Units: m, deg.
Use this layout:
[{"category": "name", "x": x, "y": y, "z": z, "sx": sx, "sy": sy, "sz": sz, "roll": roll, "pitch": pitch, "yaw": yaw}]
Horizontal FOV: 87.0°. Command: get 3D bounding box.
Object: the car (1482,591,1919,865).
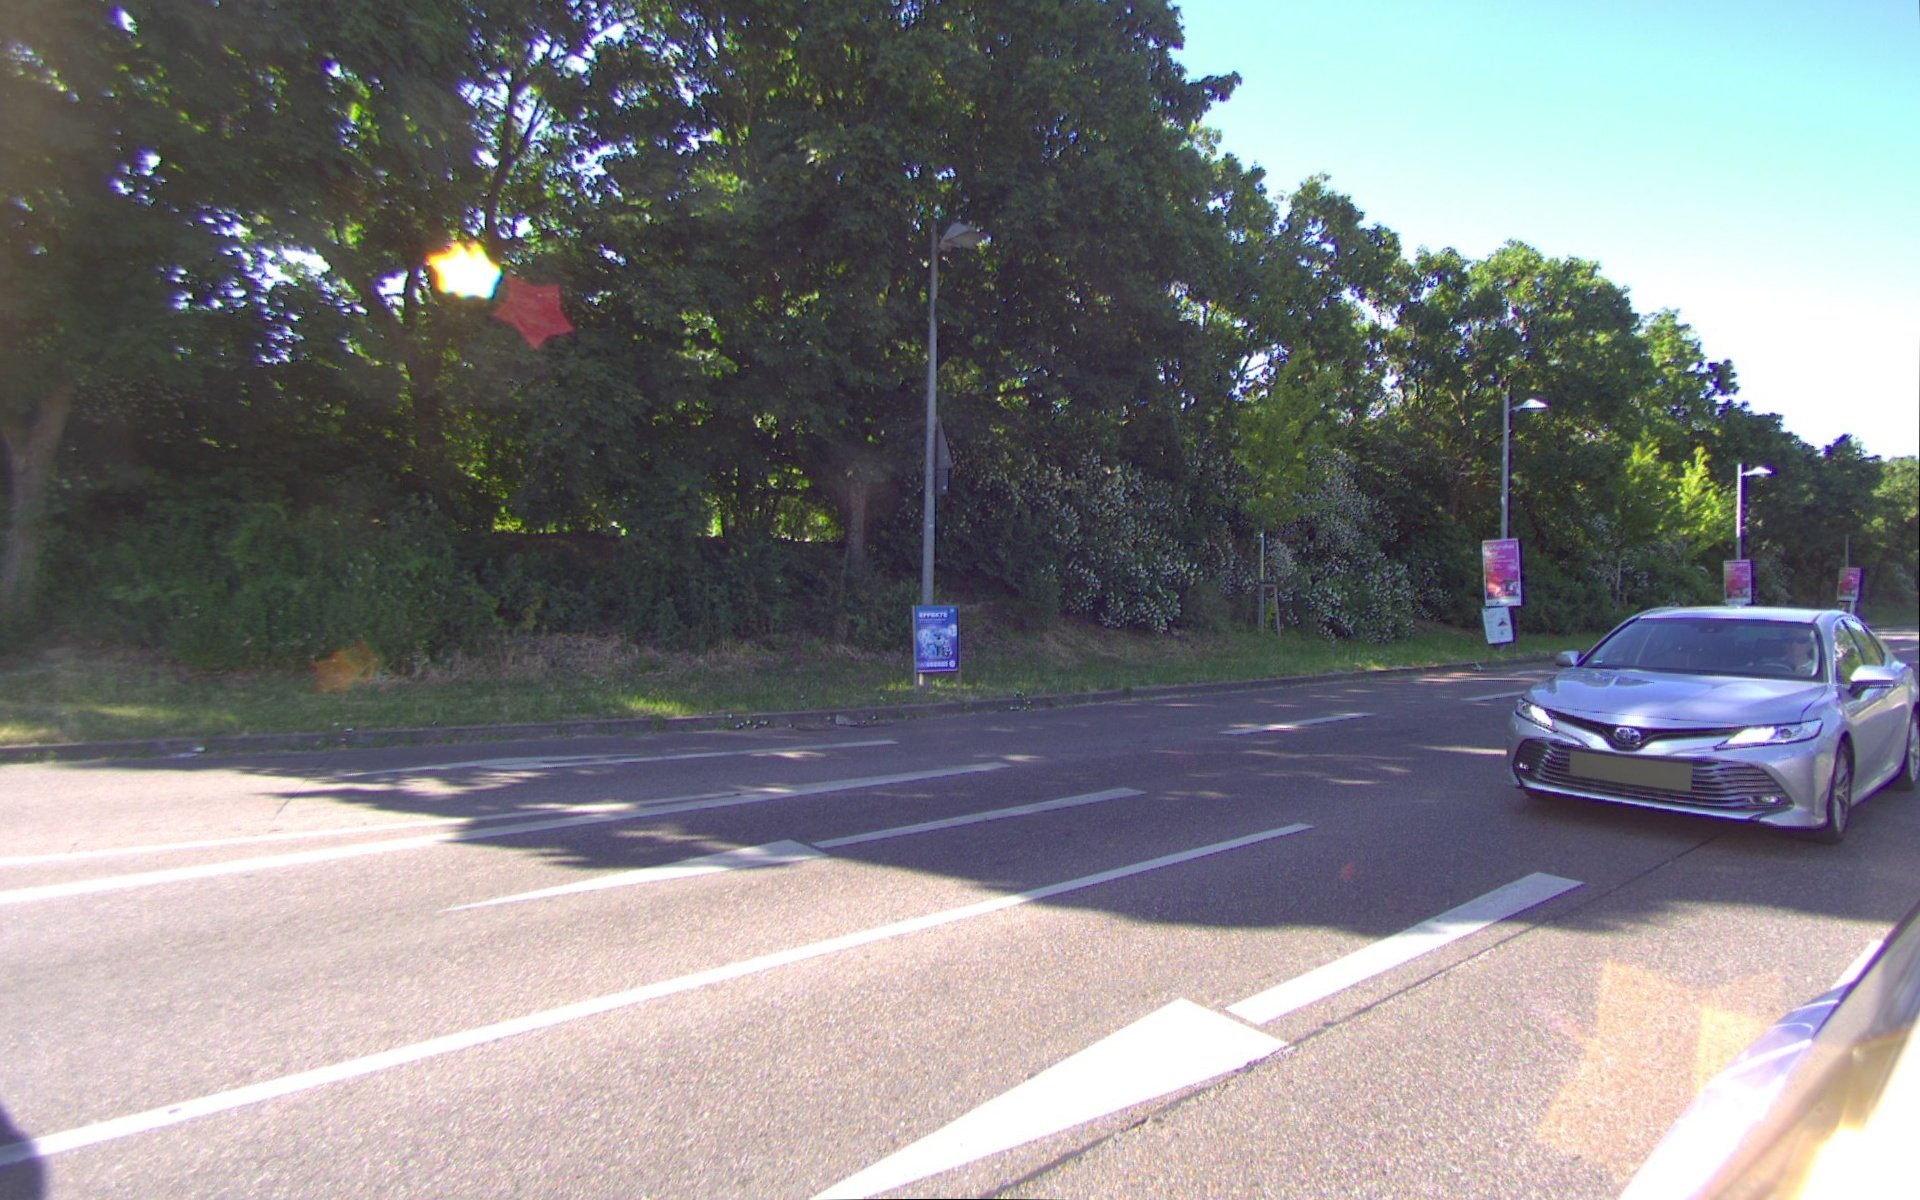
[{"category": "car", "x": 5.926, "y": 0.687, "z": 7.688, "sx": 4.512, "sy": 1.454, "sz": 1.875, "roll": 0, "pitch": 1, "yaw": -40}]
